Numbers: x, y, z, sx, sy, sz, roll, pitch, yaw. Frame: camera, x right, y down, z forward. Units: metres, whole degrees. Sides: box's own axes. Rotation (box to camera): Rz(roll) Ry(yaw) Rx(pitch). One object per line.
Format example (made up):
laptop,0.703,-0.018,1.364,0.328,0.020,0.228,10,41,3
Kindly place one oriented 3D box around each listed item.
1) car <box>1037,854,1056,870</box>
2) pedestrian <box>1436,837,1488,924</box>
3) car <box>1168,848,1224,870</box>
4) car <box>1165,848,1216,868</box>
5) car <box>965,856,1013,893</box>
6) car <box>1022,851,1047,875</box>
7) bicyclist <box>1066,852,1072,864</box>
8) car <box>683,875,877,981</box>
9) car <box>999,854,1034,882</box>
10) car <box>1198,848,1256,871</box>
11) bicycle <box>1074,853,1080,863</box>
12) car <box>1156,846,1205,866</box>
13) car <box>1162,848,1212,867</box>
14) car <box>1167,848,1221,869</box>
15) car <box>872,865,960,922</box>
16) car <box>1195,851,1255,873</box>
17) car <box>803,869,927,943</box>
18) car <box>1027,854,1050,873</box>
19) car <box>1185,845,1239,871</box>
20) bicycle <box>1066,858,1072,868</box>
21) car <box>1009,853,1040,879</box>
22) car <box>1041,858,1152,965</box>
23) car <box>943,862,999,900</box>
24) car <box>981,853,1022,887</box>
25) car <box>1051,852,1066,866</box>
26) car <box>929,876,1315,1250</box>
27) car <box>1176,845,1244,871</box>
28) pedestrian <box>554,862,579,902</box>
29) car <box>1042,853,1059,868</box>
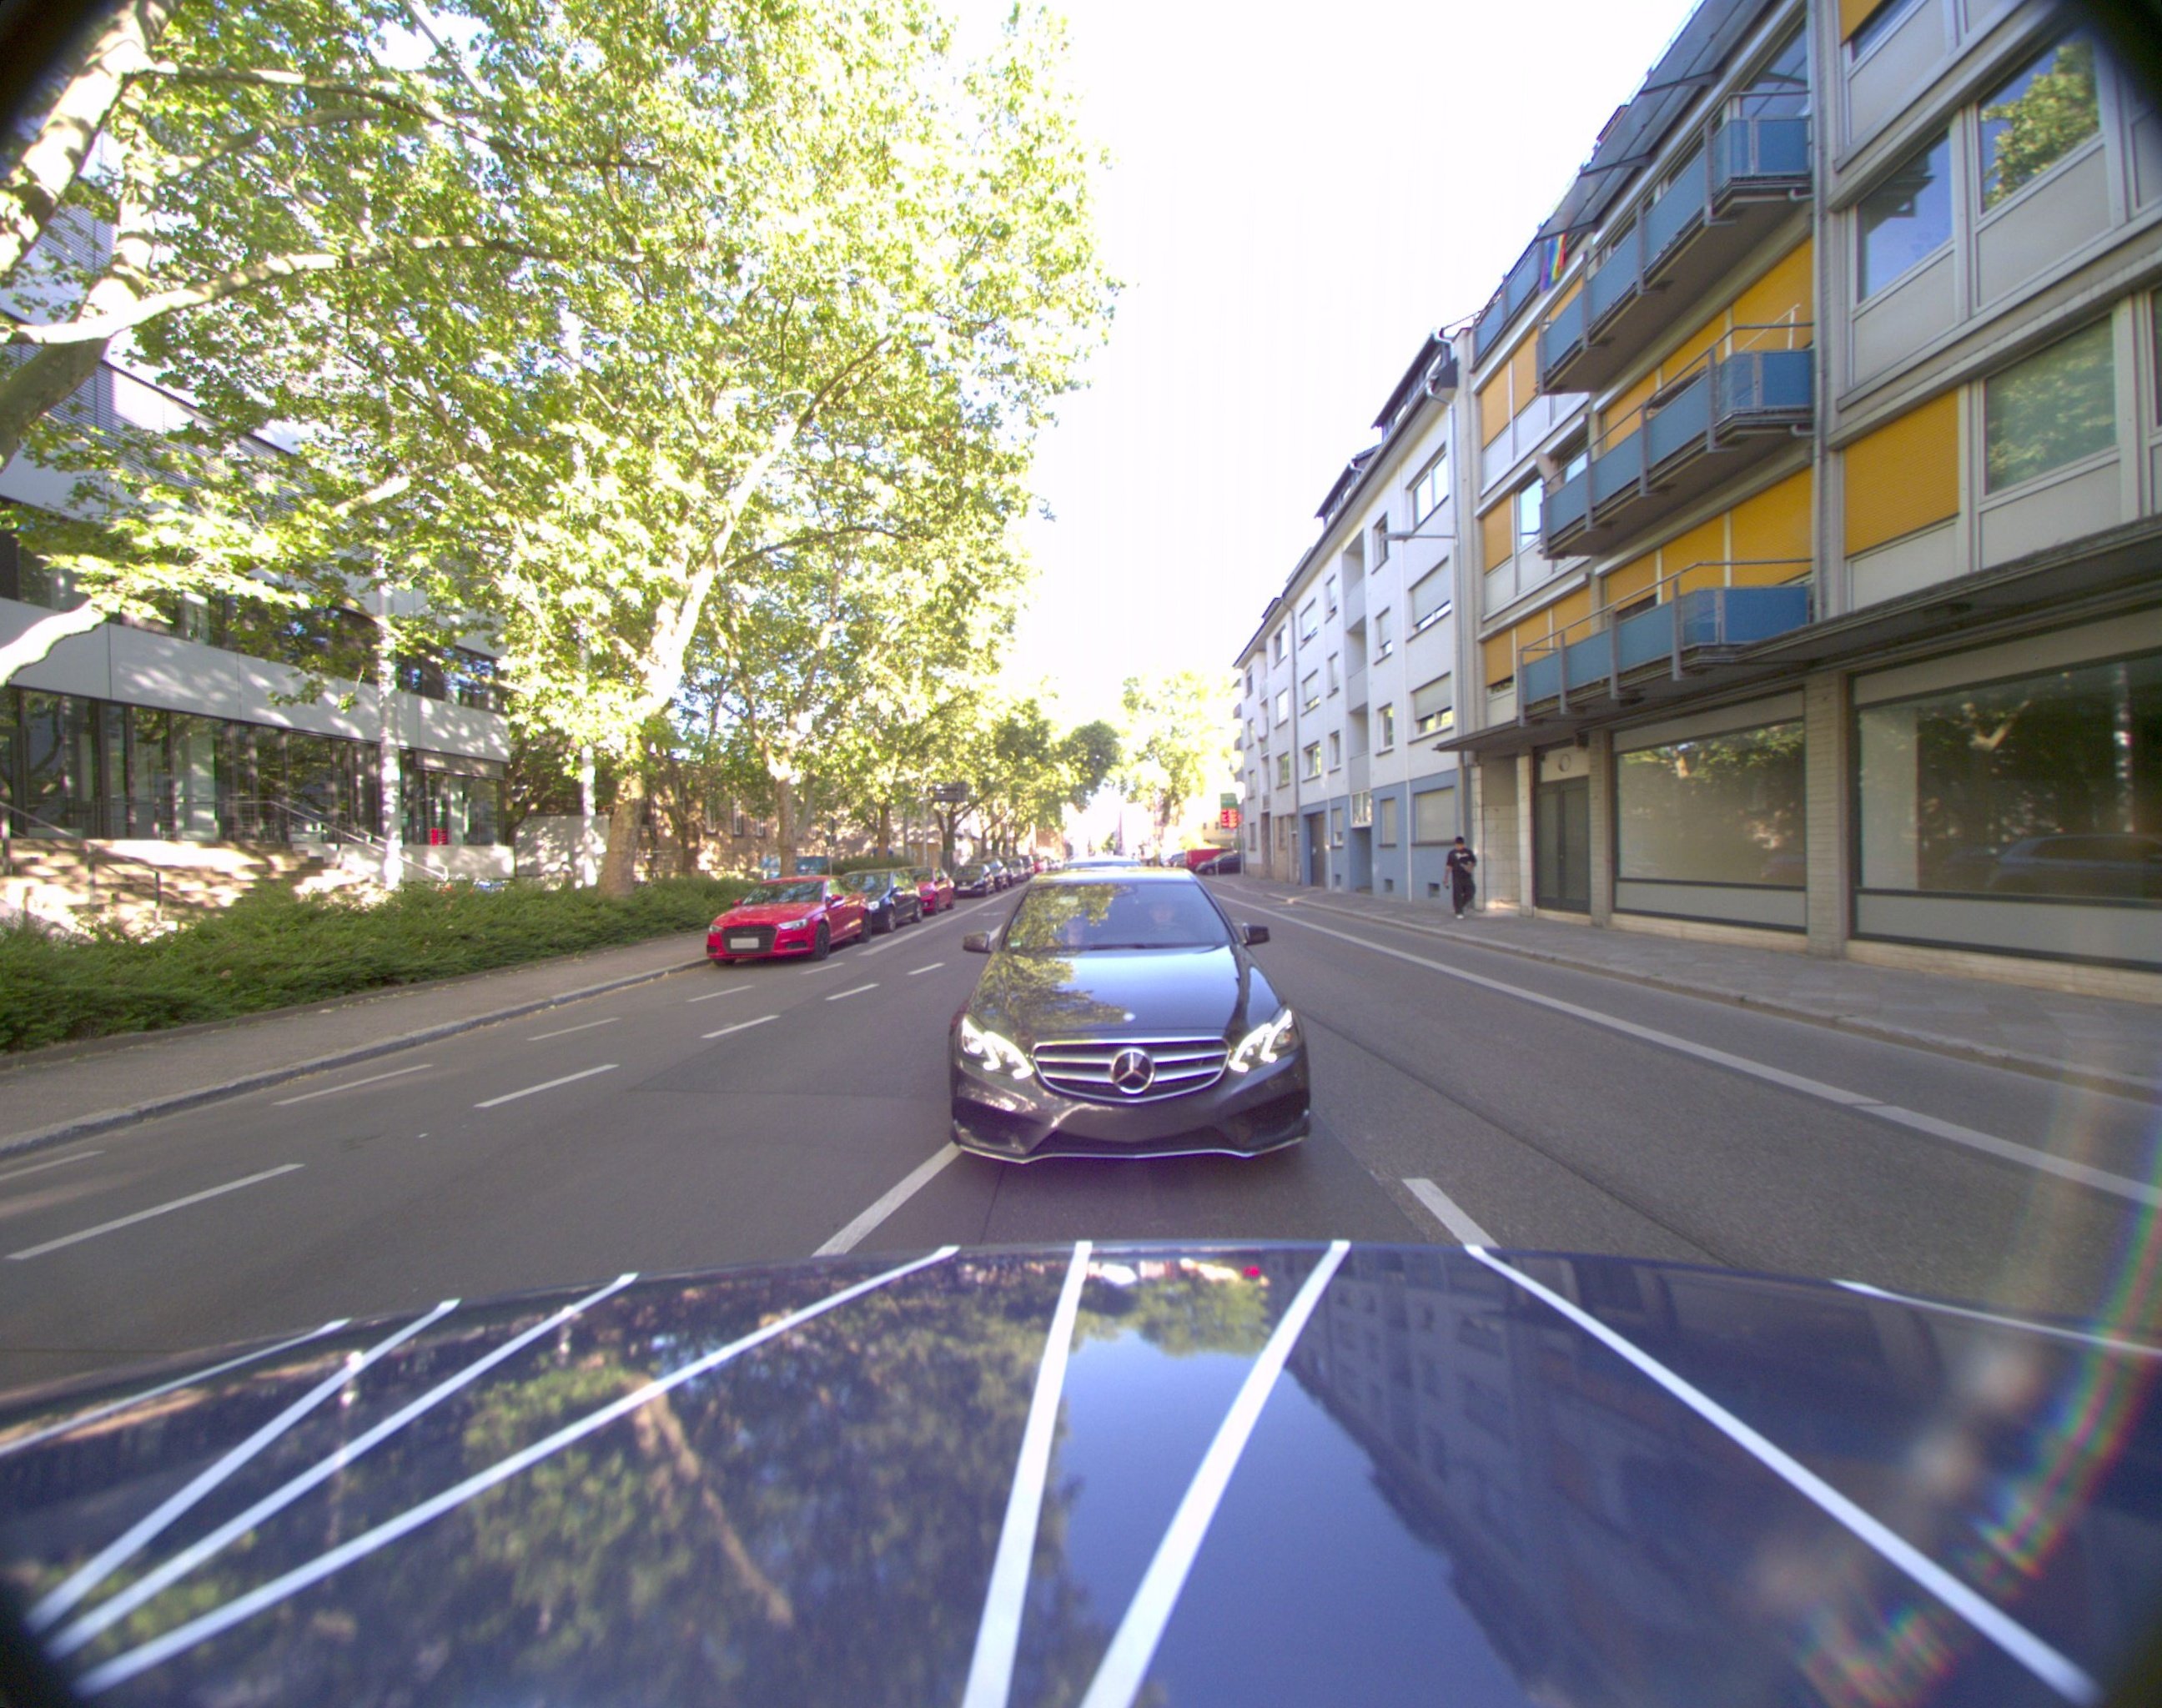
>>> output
car,-3.781,0.878,83.514,1.755,1.652,4.447,-3,0,1
pedestrian,7.995,0.543,15.953,0.663,1.761,0.793,-2,1,2
car,11.095,0.454,73.521,5.143,1.926,2.187,-2,0,1
car,11.282,0.384,78.720,4.991,1.926,2.083,-2,0,1
car,-4.567,0.980,38.263,1.755,1.644,4.174,-3,0,1
car,-4.001,0.735,66.389,1.755,1.941,4.447,-3,0,1
bicyclist,-1.437,0.445,88.017,0.650,1.427,0.741,-1,1,1
car,-5.128,1.184,13.597,1.755,1.400,4.000,-3,0,1
car,-4.276,0.885,50.944,1.755,1.718,4.447,-3,0,1
car,10.909,0.400,56.991,3.997,1.552,1.743,-2,0,1
bicycle,-0.442,0.475,88.106,0.574,1.053,1.595,-1,0,1
car,11.185,0.213,85.521,5.143,2.135,2.187,-2,0,1
car,11.318,0.359,81.185,5.042,1.926,2.315,-2,0,1
car,11.268,0.415,76.221,5.054,1.926,2.161,-2,0,1
car,-5.038,1.149,23.655,1.755,1.459,3.909,-3,0,1
car,10.353,0.571,54.781,3.997,1.412,1.743,-2,0,1
car,-5.088,1.175,18.443,1.755,1.424,3.909,-3,0,1
car,-4.007,0.910,72.175,1.755,1.652,4.447,-3,0,1
car,10.327,0.309,60.081,3.997,1.926,1.867,-2,0,1
bicycle,-1.426,1.050,88.059,0.650,1.053,1.595,-1,0,1
car,-4.106,0.828,55.755,1.755,1.753,4.447,-3,0,1
car,0.267,0.889,13.609,1.667,1.563,4.000,-1,0,1
car,-4.754,1.121,33.293,1.755,1.424,3.909,-3,0,1
car,-4.557,0.875,44.062,1.755,1.810,4.447,-3,0,1
car,-3.020,0.660,103.203,1.755,1.652,4.447,-3,0,1
car,0.209,0.985,5.357,1.667,1.499,4.000,-1,0,1
car,10.632,0.304,63.105,5.223,1.969,2.257,-2,0,1
pedestrian,-21.922,1.197,32.384,0.525,1.660,0.661,-2,1,2
car,-3.652,0.782,93.004,1.755,1.652,4.447,-3,0,1
